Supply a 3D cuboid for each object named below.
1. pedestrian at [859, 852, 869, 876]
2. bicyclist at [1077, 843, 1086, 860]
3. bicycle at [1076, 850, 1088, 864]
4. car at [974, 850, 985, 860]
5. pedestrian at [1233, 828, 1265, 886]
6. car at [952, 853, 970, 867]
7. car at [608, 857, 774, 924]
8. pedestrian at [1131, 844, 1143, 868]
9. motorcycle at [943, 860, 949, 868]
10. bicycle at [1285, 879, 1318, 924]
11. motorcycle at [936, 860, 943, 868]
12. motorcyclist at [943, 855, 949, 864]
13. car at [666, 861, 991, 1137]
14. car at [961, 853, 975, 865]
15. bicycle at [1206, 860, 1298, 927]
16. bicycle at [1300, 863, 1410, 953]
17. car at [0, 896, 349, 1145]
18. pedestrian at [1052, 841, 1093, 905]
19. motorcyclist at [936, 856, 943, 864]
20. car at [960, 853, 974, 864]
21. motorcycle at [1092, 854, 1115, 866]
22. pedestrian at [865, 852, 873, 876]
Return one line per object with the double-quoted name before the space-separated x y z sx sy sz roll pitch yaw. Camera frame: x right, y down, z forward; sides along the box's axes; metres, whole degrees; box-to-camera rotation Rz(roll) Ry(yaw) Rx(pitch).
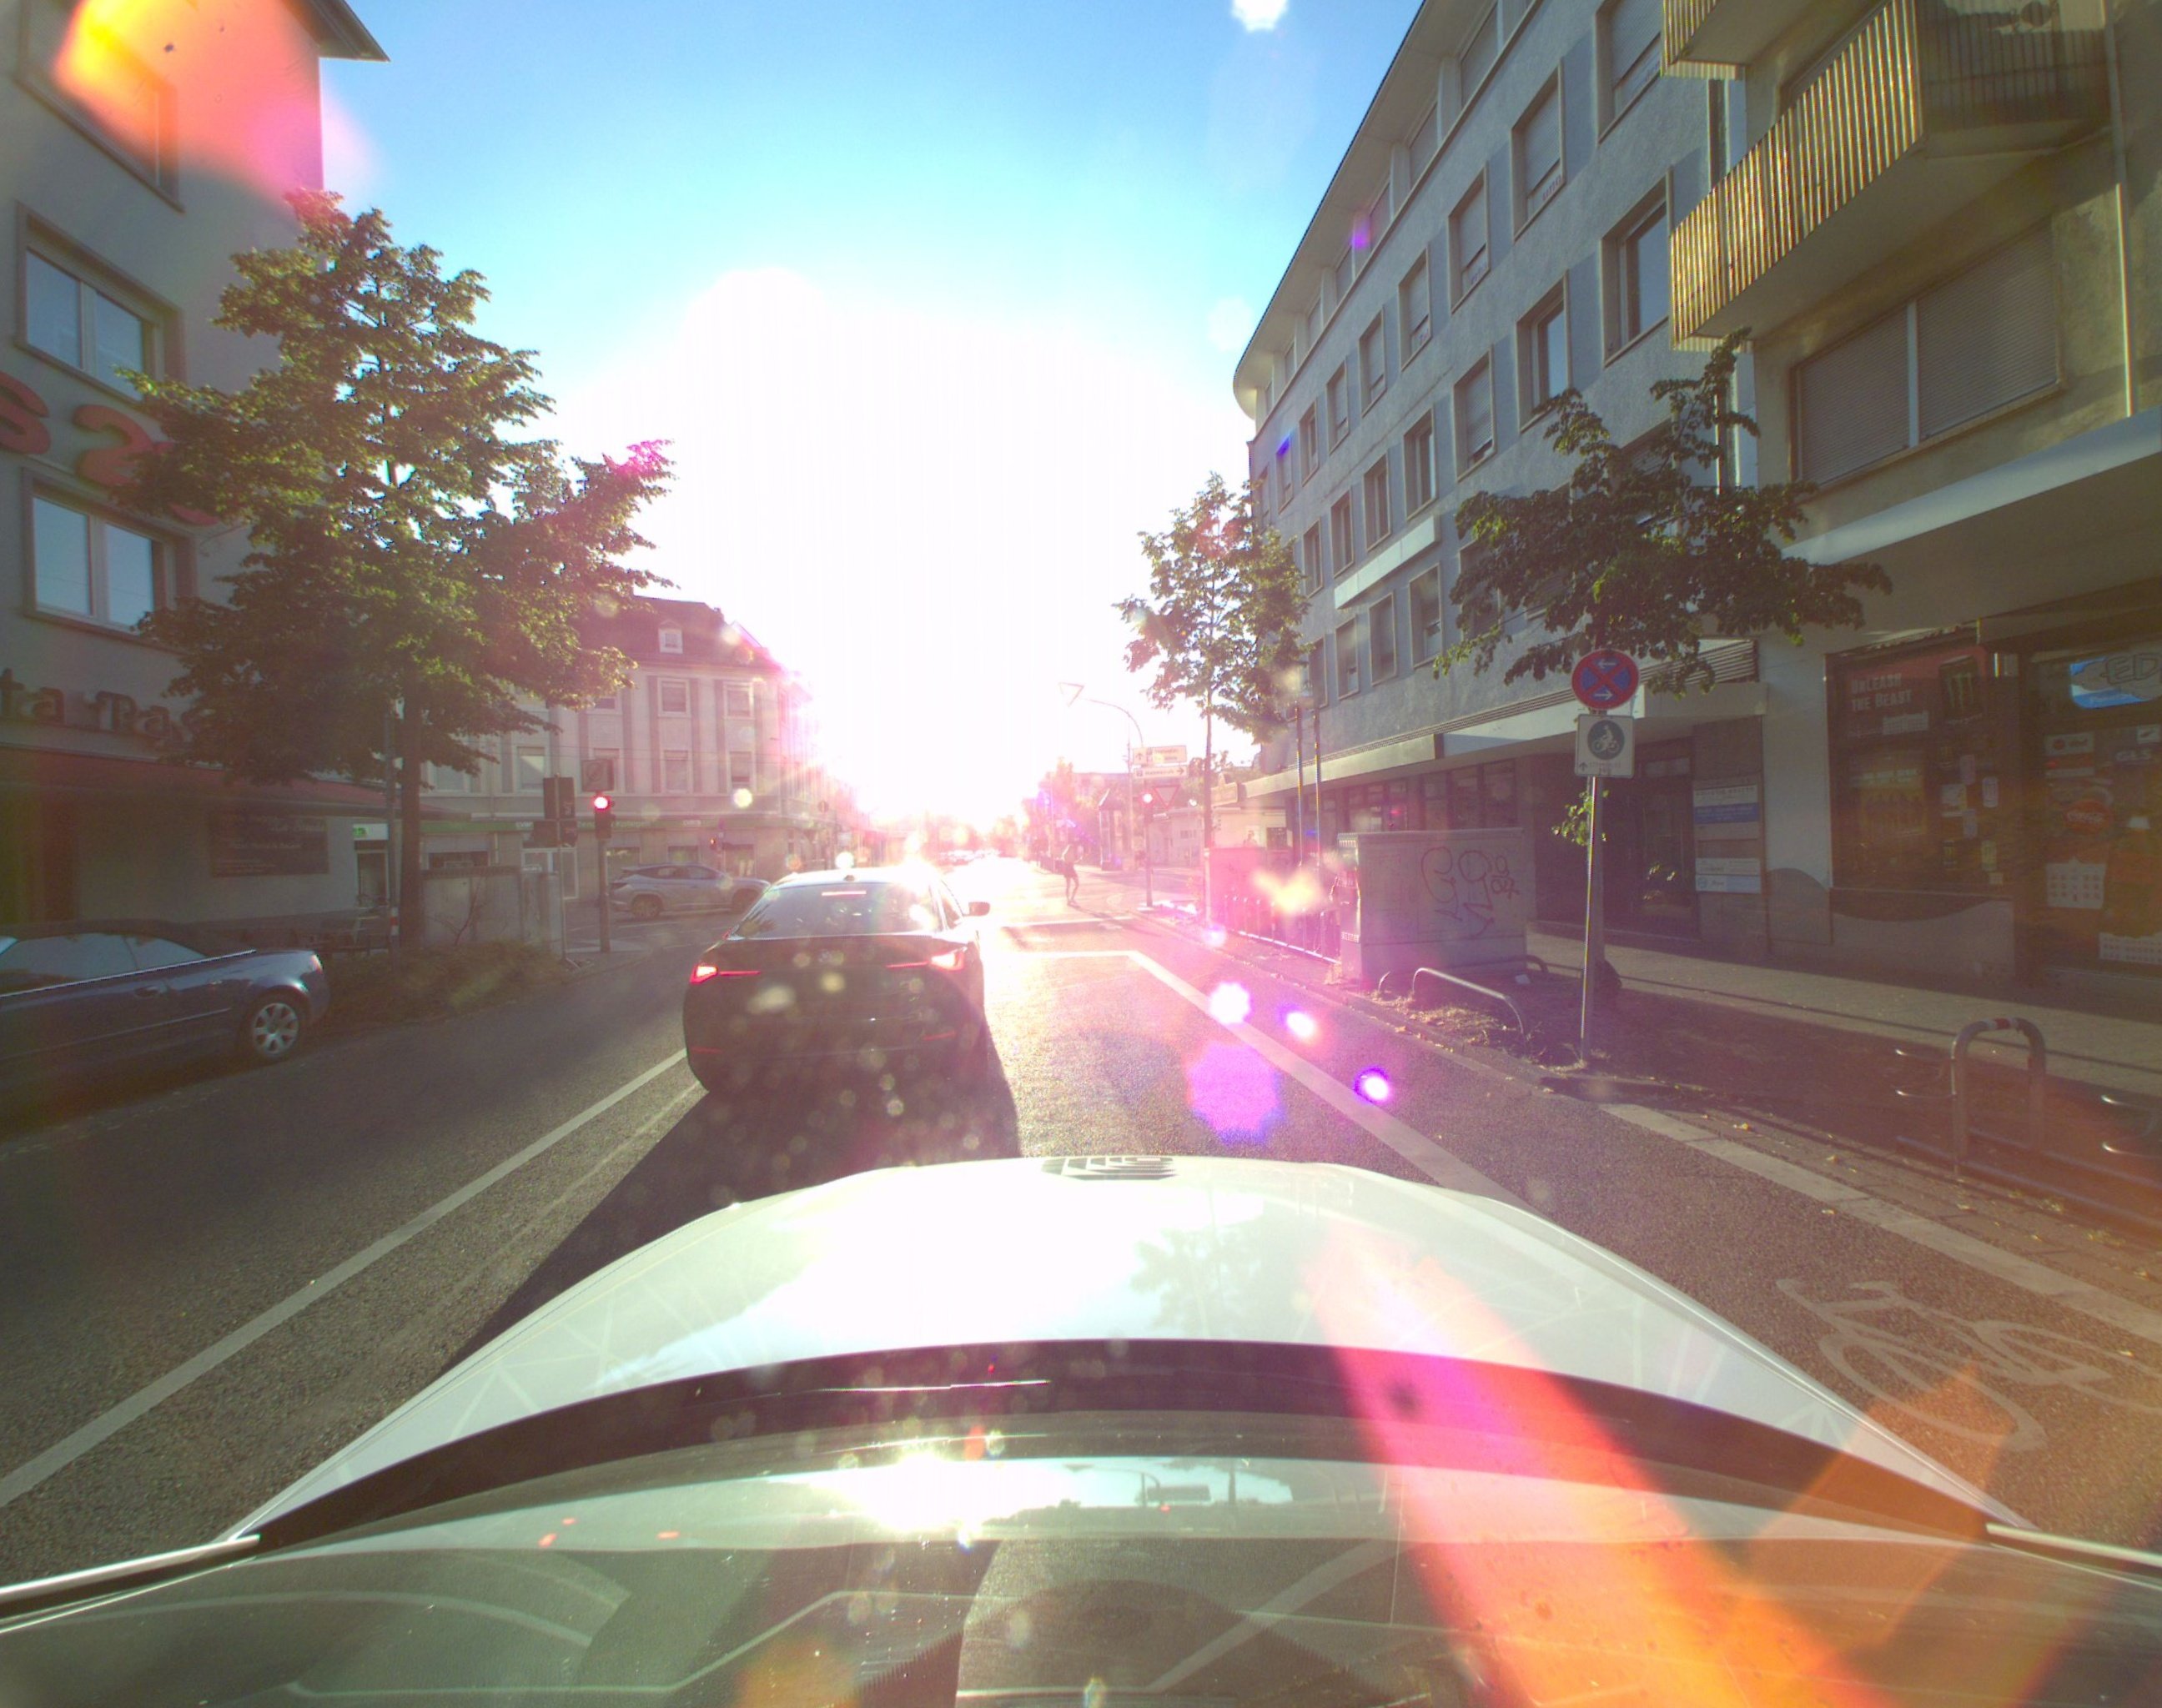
"pedestrian" -16.963 0.786 63.560 0.642 1.876 0.630 0 0 -7
"bicyclist" 0.045 -0.217 69.703 0.551 1.481 0.719 -1 -1 -15
"bicycle" 0.083 0.270 69.572 0.551 1.159 2.133 -1 -1 -14
"car" -19.039 0.229 152.692 1.768 1.848 3.995 -2 0 -4
"pedestrian" 5.561 0.091 26.979 0.834 1.841 0.677 -2 0 -6
"car" -13.945 0.664 95.028 1.816 1.519 3.992 -2 0 -6
"car" -11.738 1.018 24.584 4.307 1.707 1.787 -2 1 -32
"pedestrian" 3.682 0.140 53.572 0.727 1.529 0.474 0 0 13
"motorcycle" -15.651 1.167 94.315 0.574 0.915 2.196 0 0 -6
"bicycle" 4.151 0.883 15.387 0.249 0.796 1.114 0 0 -4
"motorcycle" -16.458 1.173 94.726 0.574 0.915 2.196 0 0 -6
"motorcyclist" -15.641 0.635 94.218 0.574 0.995 0.701 0 0 -6
"car" -1.647 0.809 6.645 1.735 1.428 4.213 -1 0 -7
"car" -15.717 0.678 113.521 1.816 1.519 3.992 -2 0 -6
"bicycle" 3.187 0.731 15.201 1.610 1.171 0.318 -2 0 -5
"bicycle" 3.857 0.747 11.478 1.438 1.220 0.383 0 0 -5
"car" -7.642 1.156 5.539 1.721 1.415 4.270 -4 0 -7
"pedestrian" -0.242 0.547 23.958 1.006 1.860 0.634 -1 -1 -27
"motorcyclist" -16.462 0.641 94.721 0.574 0.915 2.196 0 0 -6
"car" -17.338 0.678 124.049 1.816 1.519 3.992 -2 0 -6
"motorcycle" 1.864 0.515 67.999 1.673 0.939 0.851 -2 0 -18
"pedestrian" -16.880 0.785 64.836 0.616 1.876 0.676 0 0 -10
